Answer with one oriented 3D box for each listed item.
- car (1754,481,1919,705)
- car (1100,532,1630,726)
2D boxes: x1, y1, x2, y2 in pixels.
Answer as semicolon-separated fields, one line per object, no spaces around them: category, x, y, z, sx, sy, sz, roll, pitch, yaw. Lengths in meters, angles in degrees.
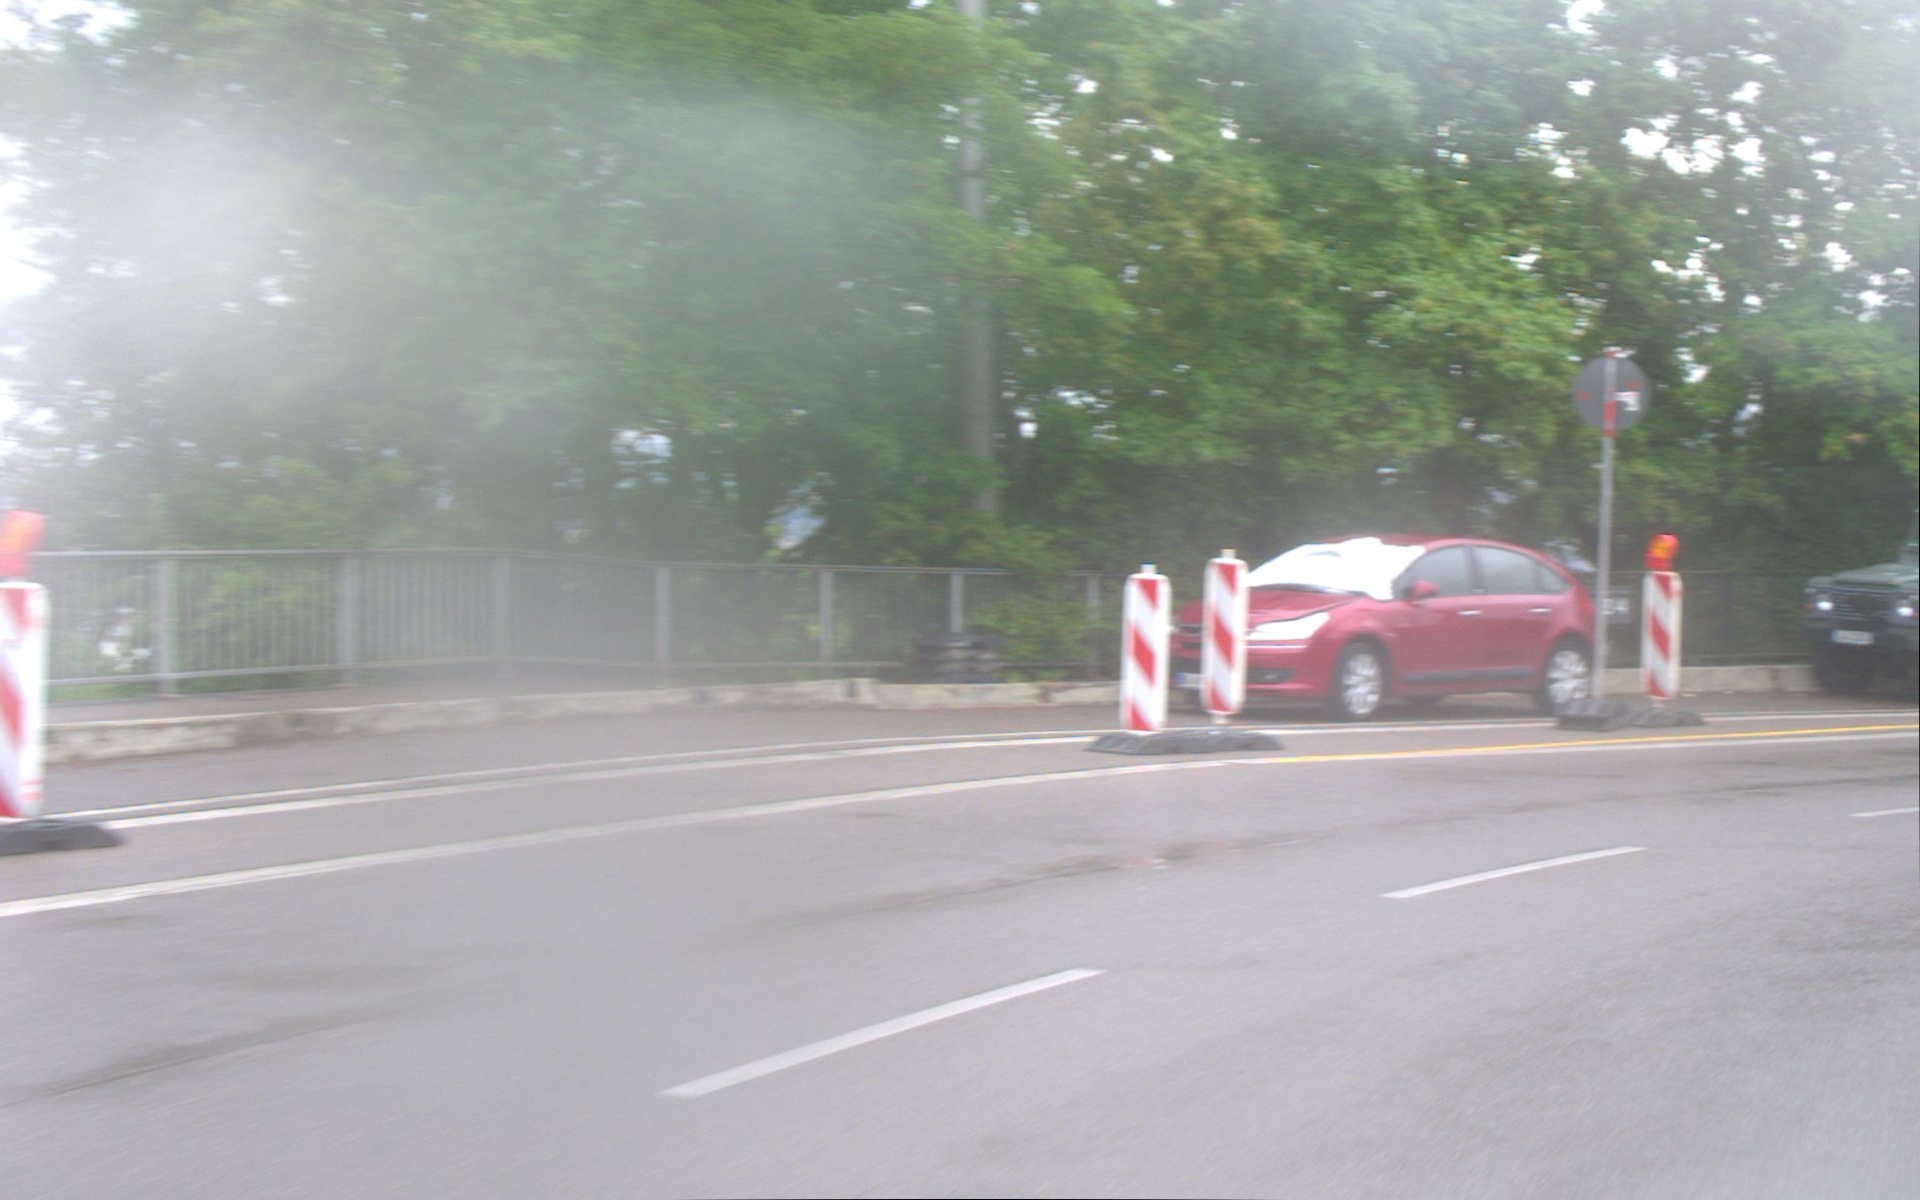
car;10.189;-0.087;33.479;4.797;2.006;1.872;0;3;-32
car;3.404;0.197;28.427;4.310;1.435;1.966;0;2;-42
